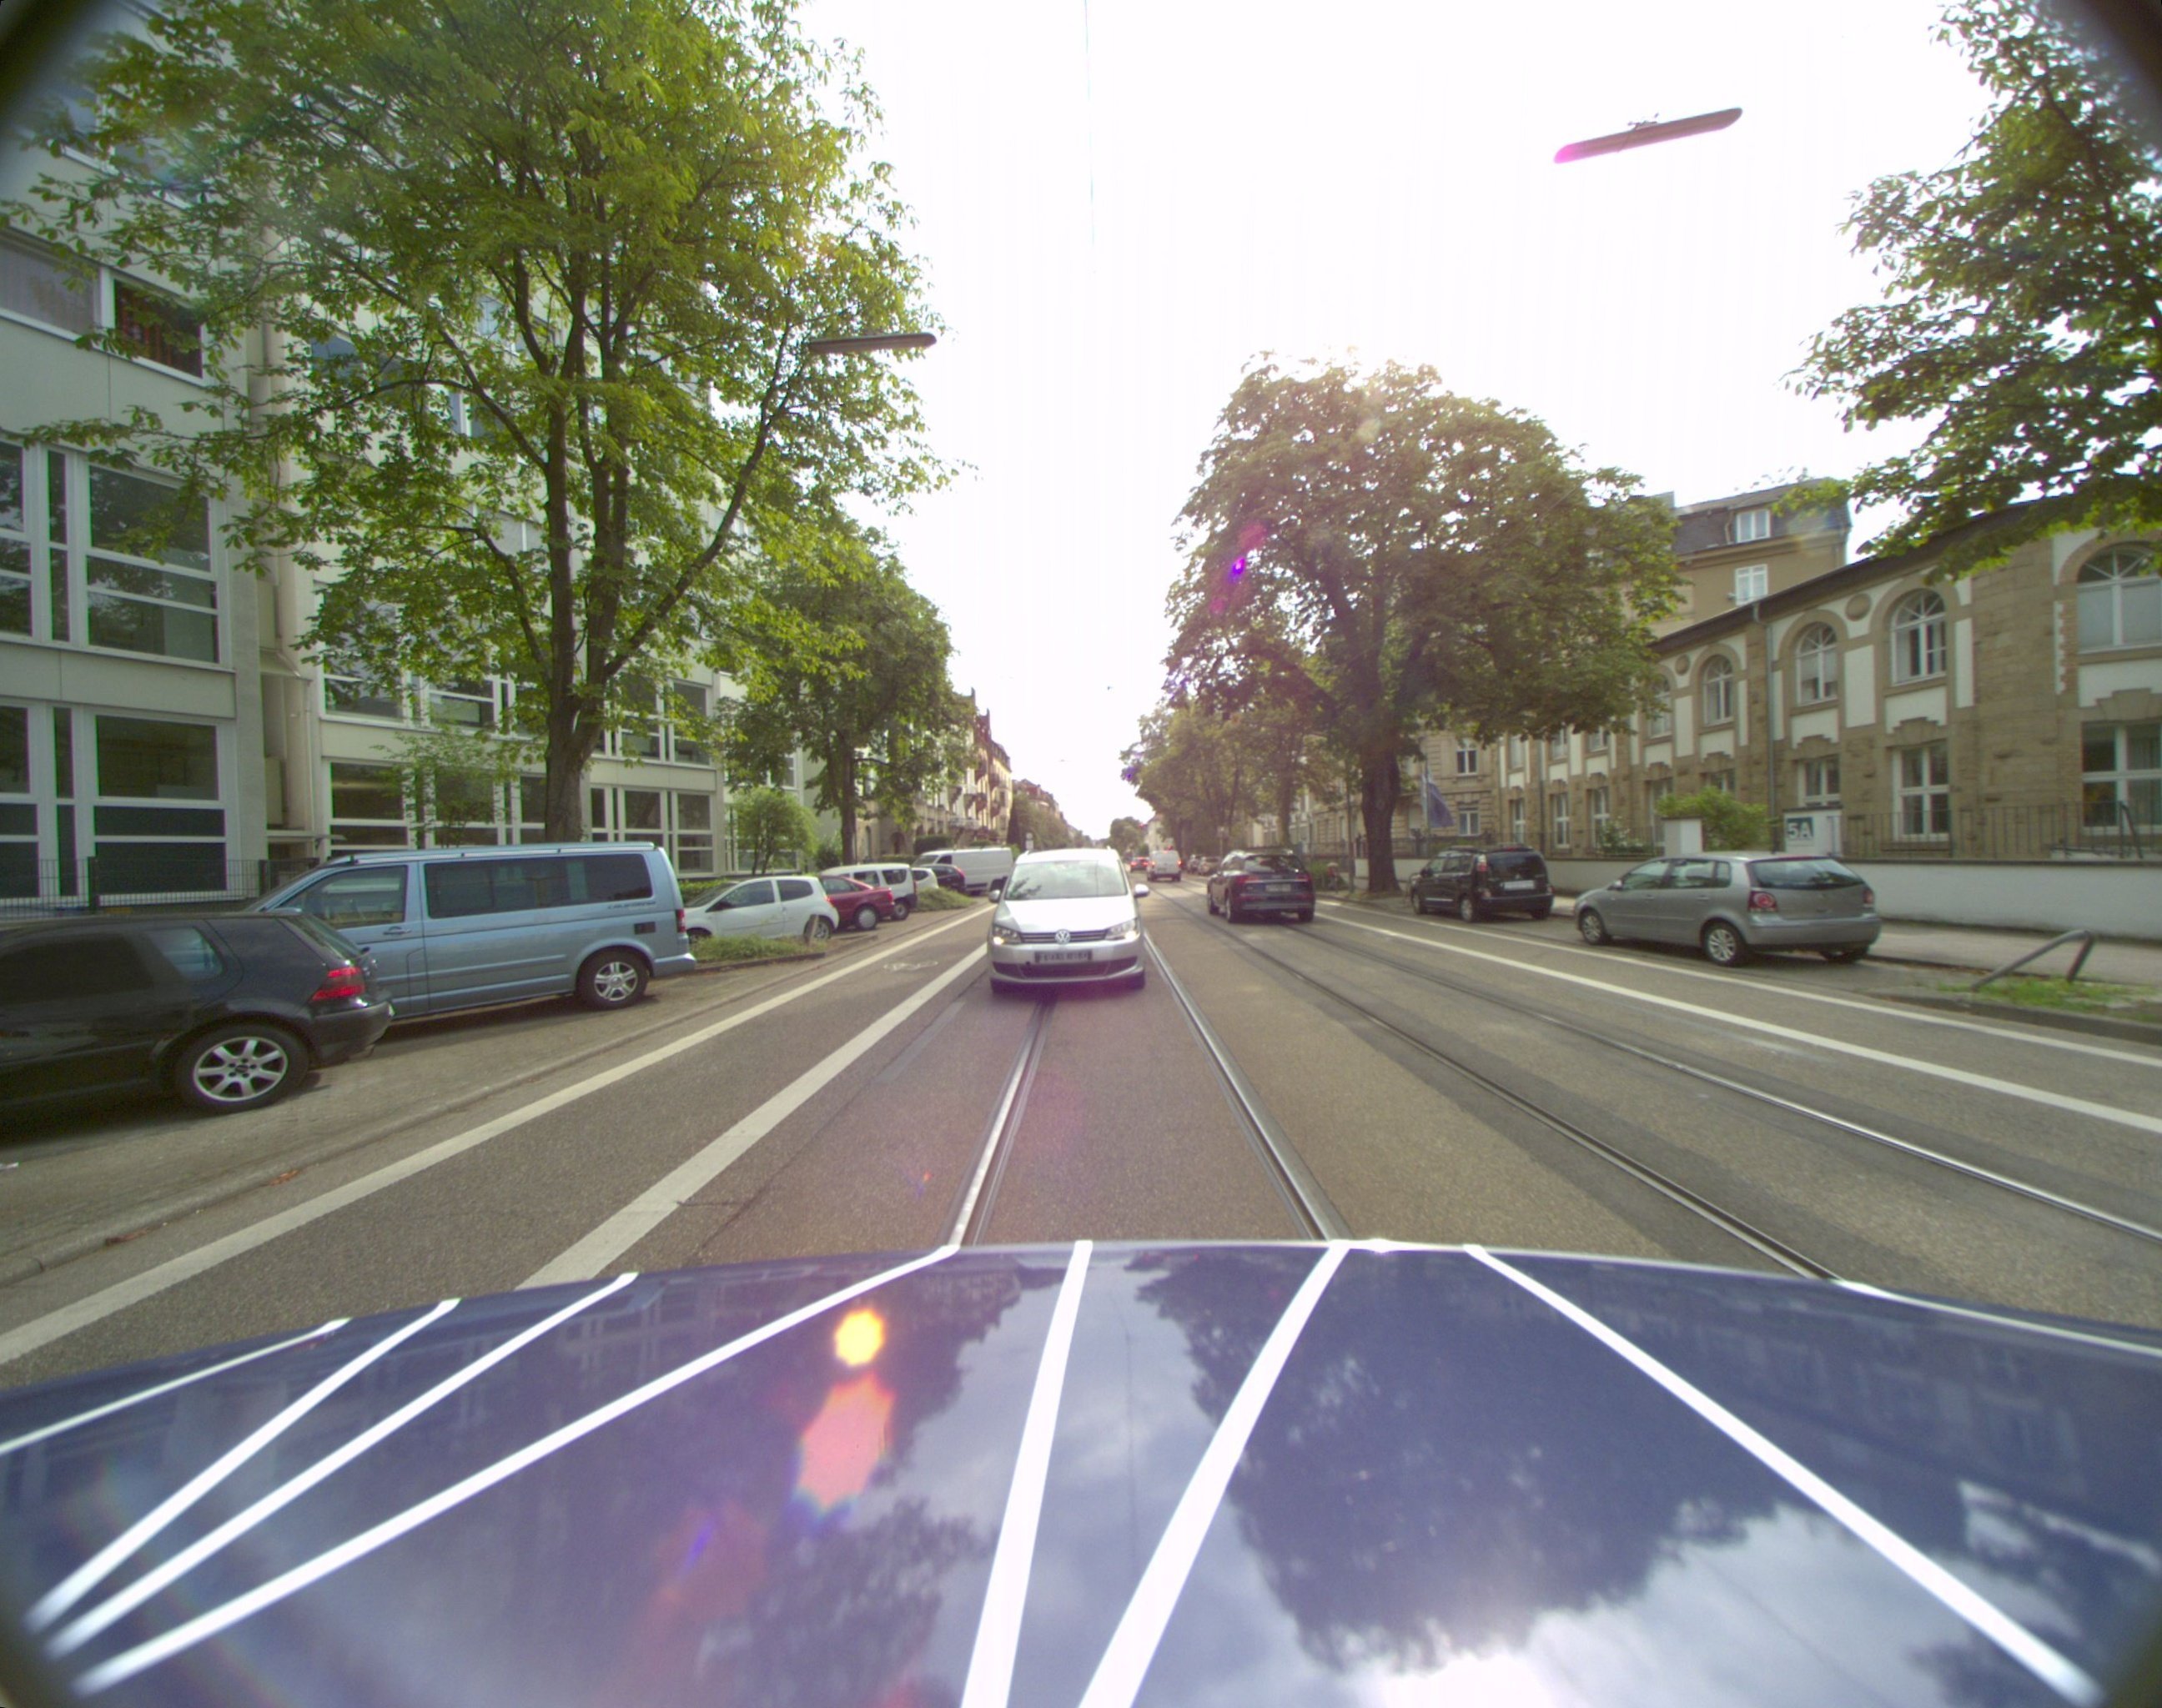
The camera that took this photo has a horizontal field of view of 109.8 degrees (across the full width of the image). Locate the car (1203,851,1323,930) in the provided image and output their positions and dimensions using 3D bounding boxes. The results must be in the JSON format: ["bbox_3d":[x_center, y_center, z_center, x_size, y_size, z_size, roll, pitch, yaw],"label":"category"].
[{"bbox_3d":[4.185,0.761,18.172,1.852,1.603,4.334,-2,0,1],"label":"car"}]

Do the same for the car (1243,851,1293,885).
[{"bbox_3d":[9.752,0.689,39.939,1.659,1.624,3.906,-2,0,1],"label":"car"}]

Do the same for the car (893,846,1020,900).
[{"bbox_3d":[-5.724,0.823,35.485,5.449,2.163,2.142,-2,1,-40],"label":"car"}]

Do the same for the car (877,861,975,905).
[{"bbox_3d":[-6.482,1.170,31.806,3.649,1.580,1.764,-2,1,-25],"label":"car"}]

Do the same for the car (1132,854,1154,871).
[{"bbox_3d":[6.063,0.790,74.530,1.786,1.506,4.144,-2,0,1],"label":"car"}]

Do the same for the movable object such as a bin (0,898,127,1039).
[{"bbox_3d":[-12.224,1.279,8.484,1.334,1.450,1.400,-2,0,5],"label":"movable object such as a bin"}]

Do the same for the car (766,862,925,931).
[{"bbox_3d":[-6.547,1.111,21.306,3.777,1.609,1.809,-2,1,-40],"label":"car"}]

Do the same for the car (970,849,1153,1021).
[{"bbox_3d":[-0.167,0.826,10.073,1.816,1.691,4.617,-2,0,1],"label":"car"}]

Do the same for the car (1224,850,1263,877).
[{"bbox_3d":[10.376,0.582,48.698,1.659,1.592,3.906,-2,0,1],"label":"car"}]

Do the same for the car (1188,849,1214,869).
[{"bbox_3d":[10.450,0.420,66.550,1.659,1.624,3.906,-2,0,1],"label":"car"}]

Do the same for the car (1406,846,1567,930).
[{"bbox_3d":[8.980,0.688,17.206,1.659,1.624,3.725,-2,0,1],"label":"car"}]

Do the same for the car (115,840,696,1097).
[{"bbox_3d":[-6.991,0.934,8.450,4.354,2.052,1.994,-2,0,-45],"label":"car"}]

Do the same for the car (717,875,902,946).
[{"bbox_3d":[-6.510,1.282,18.388,3.777,1.331,1.809,-2,1,-40],"label":"car"}]

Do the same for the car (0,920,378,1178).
[{"bbox_3d":[-7.408,1.319,5.004,3.980,1.379,1.810,-3,-1,-44],"label":"car"}]

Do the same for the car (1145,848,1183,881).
[{"bbox_3d":[5.031,0.599,46.398,1.799,1.813,4.678,-2,0,1],"label":"car"}]

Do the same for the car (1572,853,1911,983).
[{"bbox_3d":[8.832,0.747,10.617,1.632,1.456,3.574,-2,0,1],"label":"car"}]

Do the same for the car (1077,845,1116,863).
[{"bbox_3d":[2.560,0.018,124.097,5.925,2.585,2.001,-2,0,11],"label":"car"}]

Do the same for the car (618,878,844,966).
[{"bbox_3d":[-6.854,1.243,15.089,3.652,1.322,1.763,-3,1,-44],"label":"car"}]

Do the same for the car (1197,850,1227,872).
[{"bbox_3d":[10.140,0.514,59.240,1.659,1.624,3.906,-2,0,1],"label":"car"}]

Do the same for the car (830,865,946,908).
[{"bbox_3d":[-6.976,1.140,27.673,3.652,1.322,1.763,-3,1,-44],"label":"car"}]
